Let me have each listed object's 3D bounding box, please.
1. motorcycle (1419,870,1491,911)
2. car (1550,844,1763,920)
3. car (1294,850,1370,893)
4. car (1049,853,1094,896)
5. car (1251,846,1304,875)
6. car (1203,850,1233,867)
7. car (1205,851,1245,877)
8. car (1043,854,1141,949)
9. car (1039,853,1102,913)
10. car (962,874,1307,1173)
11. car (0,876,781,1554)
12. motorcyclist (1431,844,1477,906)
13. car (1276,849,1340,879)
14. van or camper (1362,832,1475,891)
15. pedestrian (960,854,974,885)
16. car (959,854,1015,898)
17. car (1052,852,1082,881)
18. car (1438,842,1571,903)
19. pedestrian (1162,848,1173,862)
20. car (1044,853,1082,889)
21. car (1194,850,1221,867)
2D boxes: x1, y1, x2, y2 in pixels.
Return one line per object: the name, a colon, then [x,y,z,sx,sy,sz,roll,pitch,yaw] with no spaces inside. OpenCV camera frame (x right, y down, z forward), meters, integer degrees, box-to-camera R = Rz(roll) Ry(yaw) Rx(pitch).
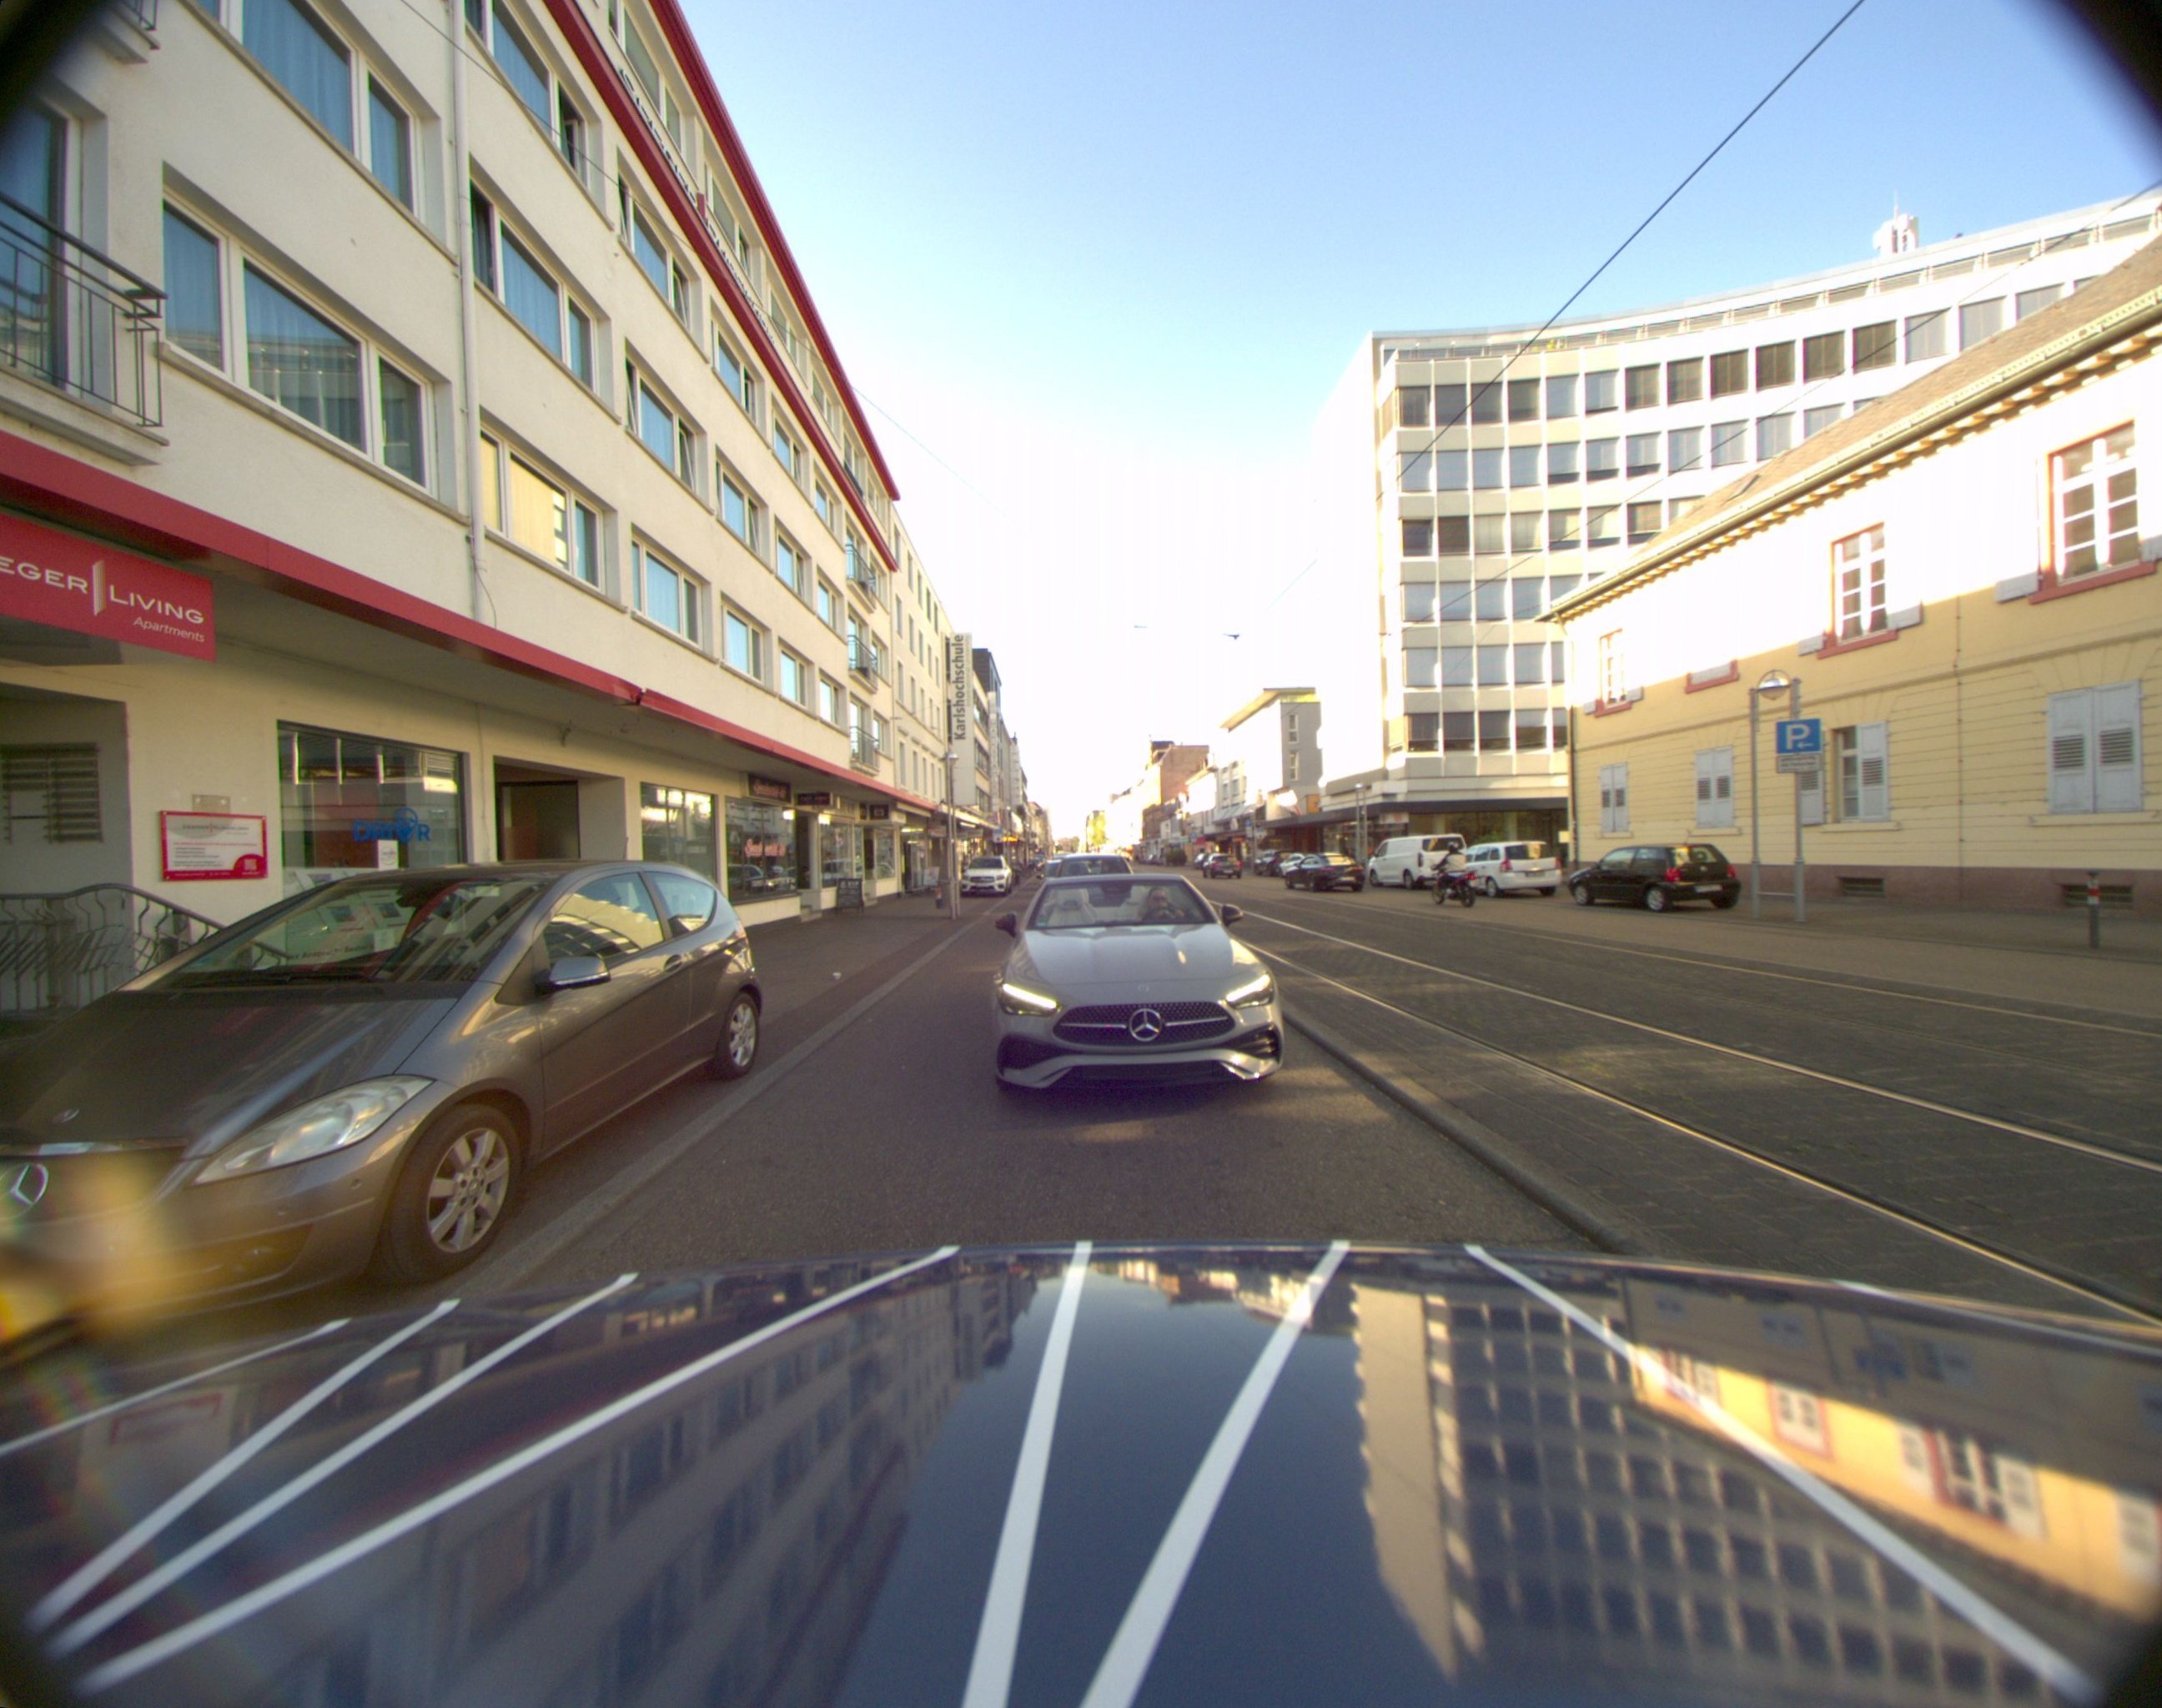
motorcycle: [9.707,0.930,19.828,0.601,0.921,2.154,-2,1,-7]
car: [12.857,0.539,17.326,1.781,1.431,3.960,-3,1,0]
car: [9.513,0.624,29.163,1.780,1.500,4.671,-1,0,5]
car: [-0.383,0.819,32.045,1.737,1.654,3.960,0,1,0]
car: [12.242,0.393,47.632,1.931,1.632,4.280,-4,1,-3]
car: [11.936,0.379,66.393,1.786,1.408,3.596,-2,1,-2]
car: [8.605,0.574,45.647,1.781,1.500,3.861,-1,0,3]
car: [0.187,0.850,15.551,1.737,1.654,3.960,0,1,0]
car: [-0.315,0.833,23.643,1.783,1.654,3.960,0,1,0]
car: [0.282,0.987,6.522,1.869,1.431,4.773,0,1,0]
car: [-3.216,0.982,3.890,1.781,1.560,3.960,0,1,0]
motorcyclist: [9.704,0.536,19.784,0.654,1.549,0.884,-2,1,-7]
car: [12.516,0.501,42.243,1.931,1.444,4.291,-4,1,-5]
van or camper: [12.657,0.240,28.913,1.960,1.962,4.796,-3,1,-2]
pedestrian: [-6.816,0.905,45.462,0.706,1.807,0.807,-2,1,-3]
car: [-3.800,0.843,31.401,1.783,1.654,4.162,0,1,0]
car: [-0.852,0.725,46.583,1.737,1.654,3.960,0,1,0]
car: [12.764,0.483,23.240,1.781,1.611,4.175,-3,1,2]
pedestrian: [11.379,0.093,99.969,1.011,1.811,1.031,-3,1,-18]
car: [-0.849,0.791,37.424,1.737,1.654,3.781,0,1,0]
car: [11.771,0.400,71.017,1.786,1.511,3.832,-2,1,-1]
